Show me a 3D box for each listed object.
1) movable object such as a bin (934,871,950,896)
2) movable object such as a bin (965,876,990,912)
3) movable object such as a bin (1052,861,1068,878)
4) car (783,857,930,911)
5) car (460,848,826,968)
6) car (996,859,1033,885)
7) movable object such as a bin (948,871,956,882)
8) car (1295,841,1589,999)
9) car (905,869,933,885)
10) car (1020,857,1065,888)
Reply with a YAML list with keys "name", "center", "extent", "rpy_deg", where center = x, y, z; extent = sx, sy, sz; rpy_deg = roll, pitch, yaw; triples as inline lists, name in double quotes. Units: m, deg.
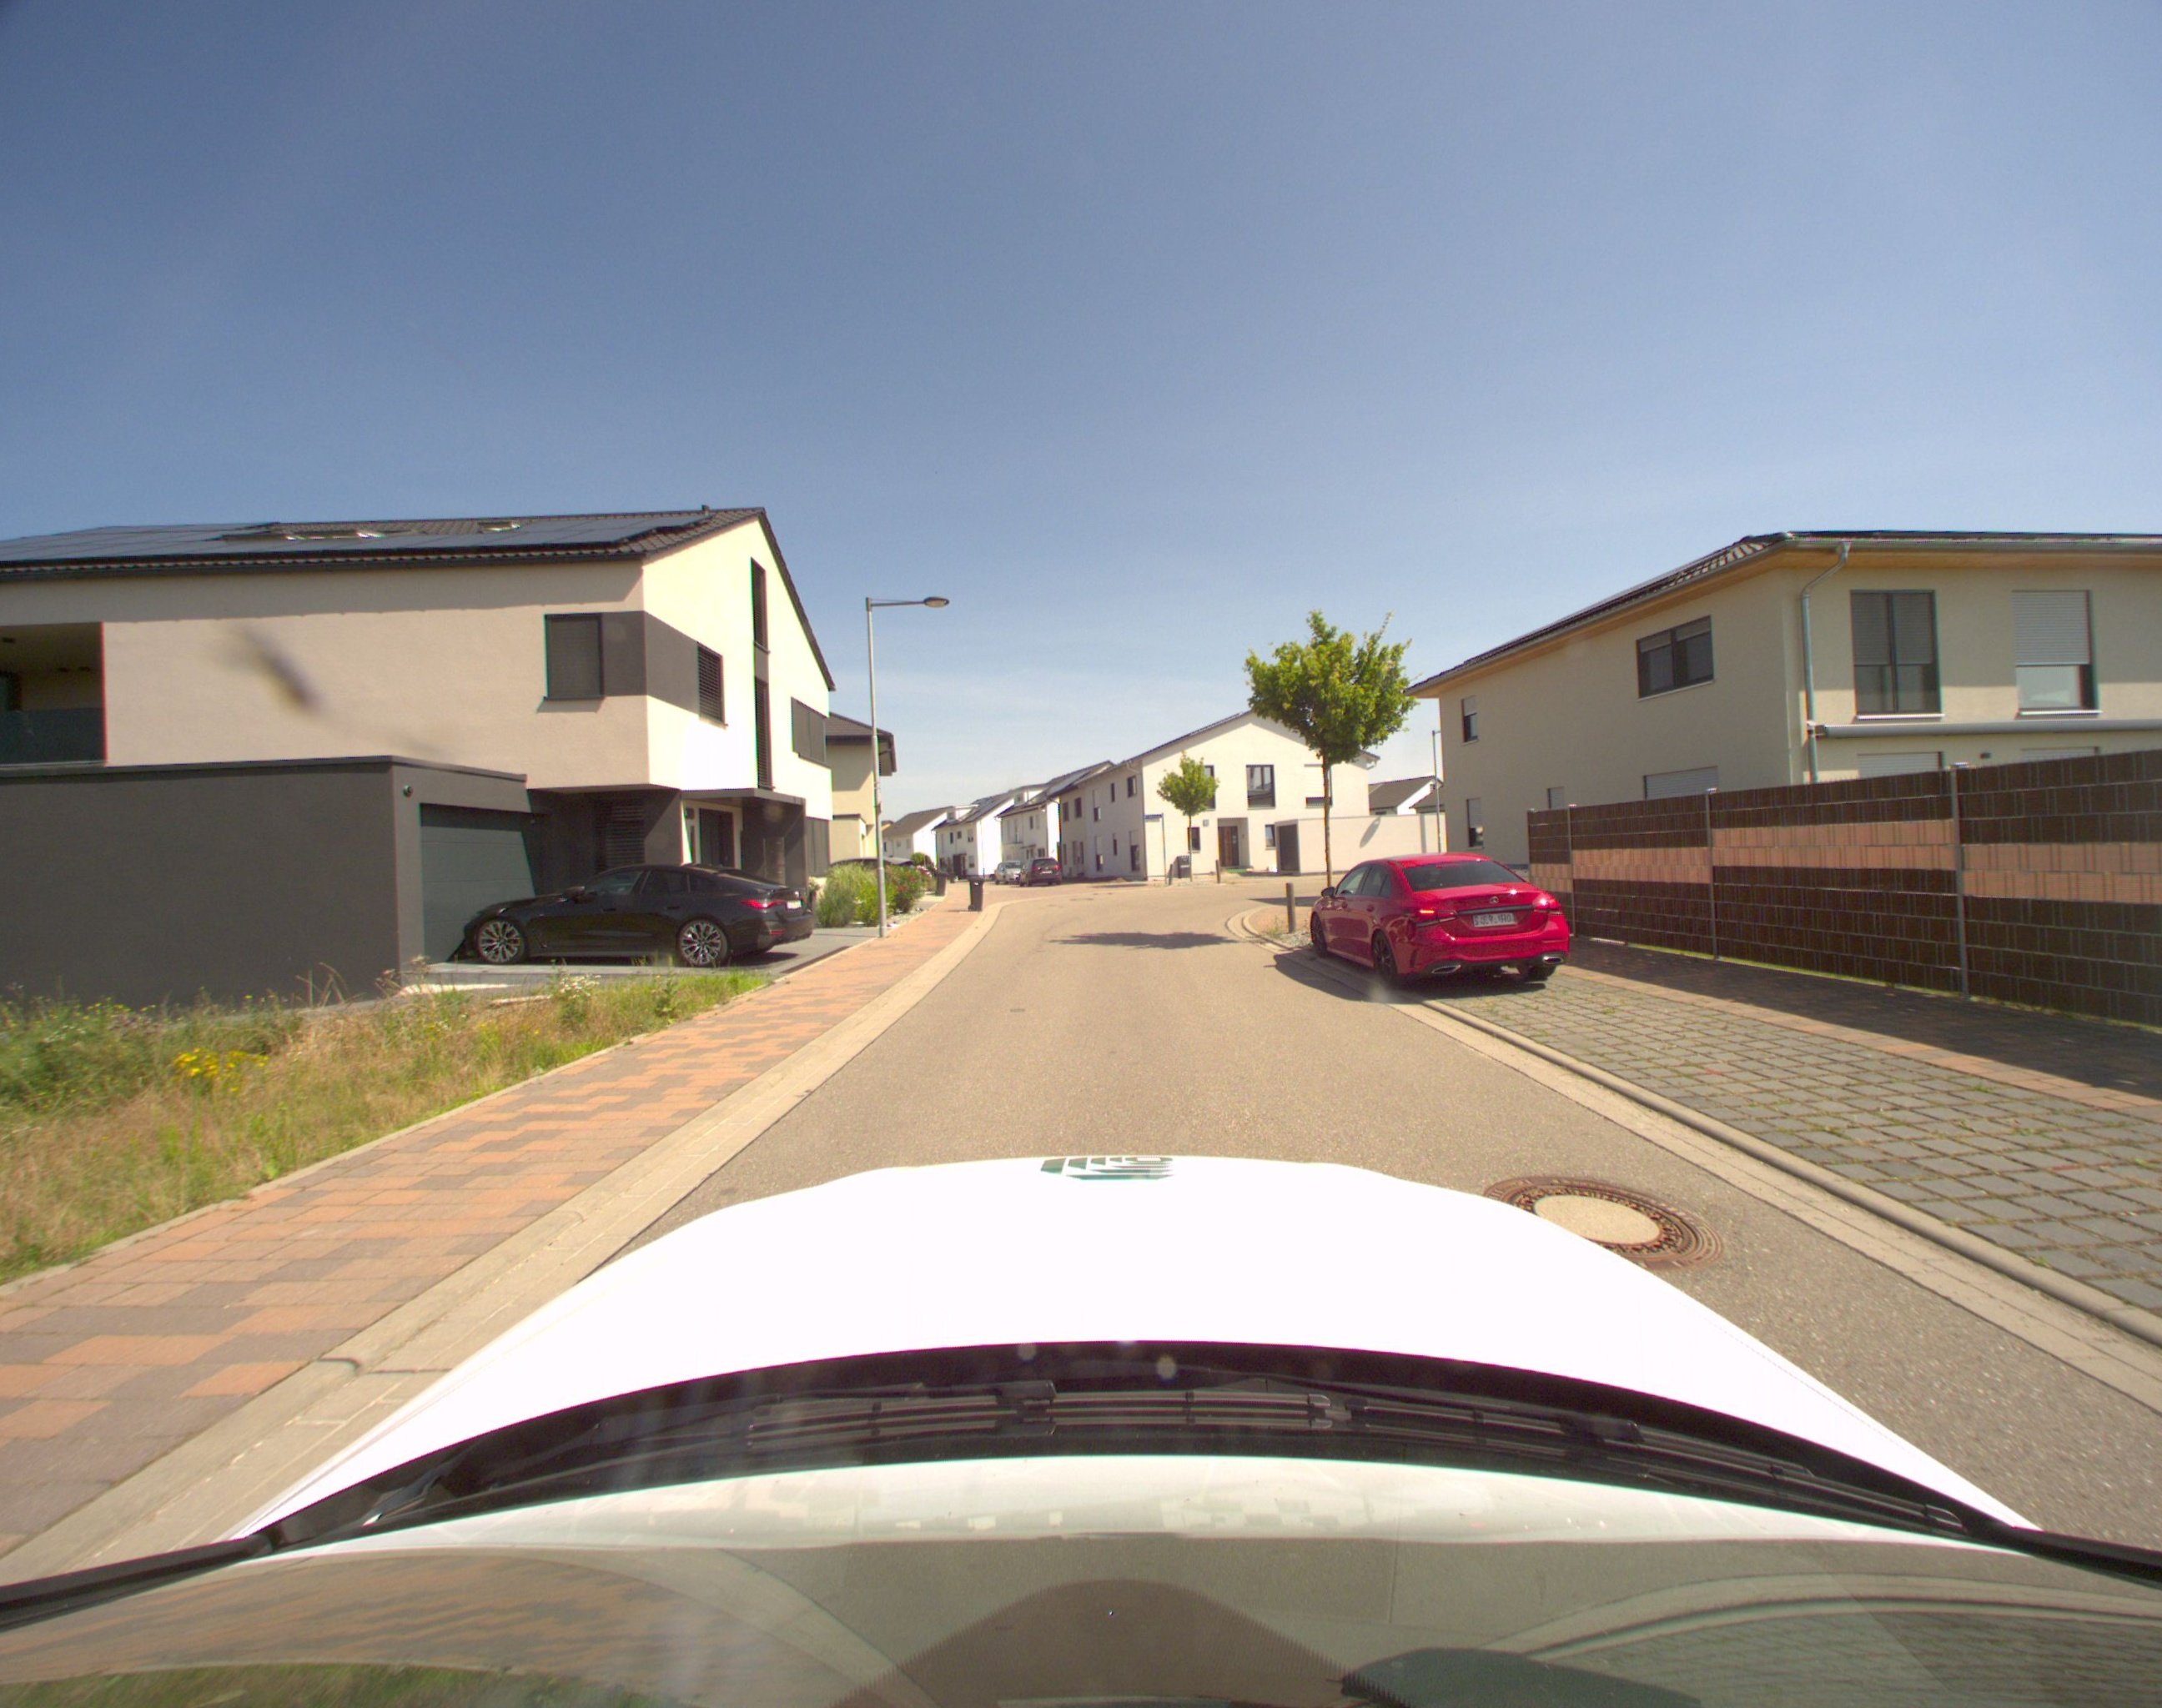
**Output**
- name: "movable object such as a bin"
  center: [-5.242, 1.101, 30.721]
  extent: [0.614, 0.927, 0.422]
  rpy_deg: [0, -2, -10]
- name: "movable object such as a bin"
  center: [-2.826, 1.088, 22.160]
  extent: [0.531, 0.936, 0.527]
  rpy_deg: [-1, 0, 9]
- name: "movable object such as a bin"
  center: [-1.323, 1.003, 52.091]
  extent: [0.786, 1.050, 0.800]
  rpy_deg: [-5, 0, -16]
- name: "car"
  center: [-6.856, 0.904, 25.151]
  extent: [3.971, 1.486, 1.755]
  rpy_deg: [-2, 0, 2]
- name: "car"
  center: [-6.219, 0.739, 11.934]
  extent: [4.361, 1.631, 1.771]
  rpy_deg: [0, -1, 0]
- name: "car"
  center: [-4.251, 1.143, 51.609]
  extent: [1.679, 1.464, 3.926]
  rpy_deg: [-3, 0, -13]
- name: "movable object such as a bin"
  center: [-11.211, 1.926, 70.847]
  extent: [0.558, 0.949, 0.245]
  rpy_deg: [-2, -1, -18]
- name: "car"
  center: [4.111, 0.654, 10.203]
  extent: [1.755, 1.438, 4.522]
  rpy_deg: [-4, 0, 2]
- name: "car"
  center: [-16.809, 2.384, 84.534]
  extent: [1.790, 1.596, 3.964]
  rpy_deg: [-3, 0, -27]
- name: "car"
  center: [-2.048, 0.934, 41.898]
  extent: [1.727, 1.423, 3.985]
  rpy_deg: [-3, 0, -11]
